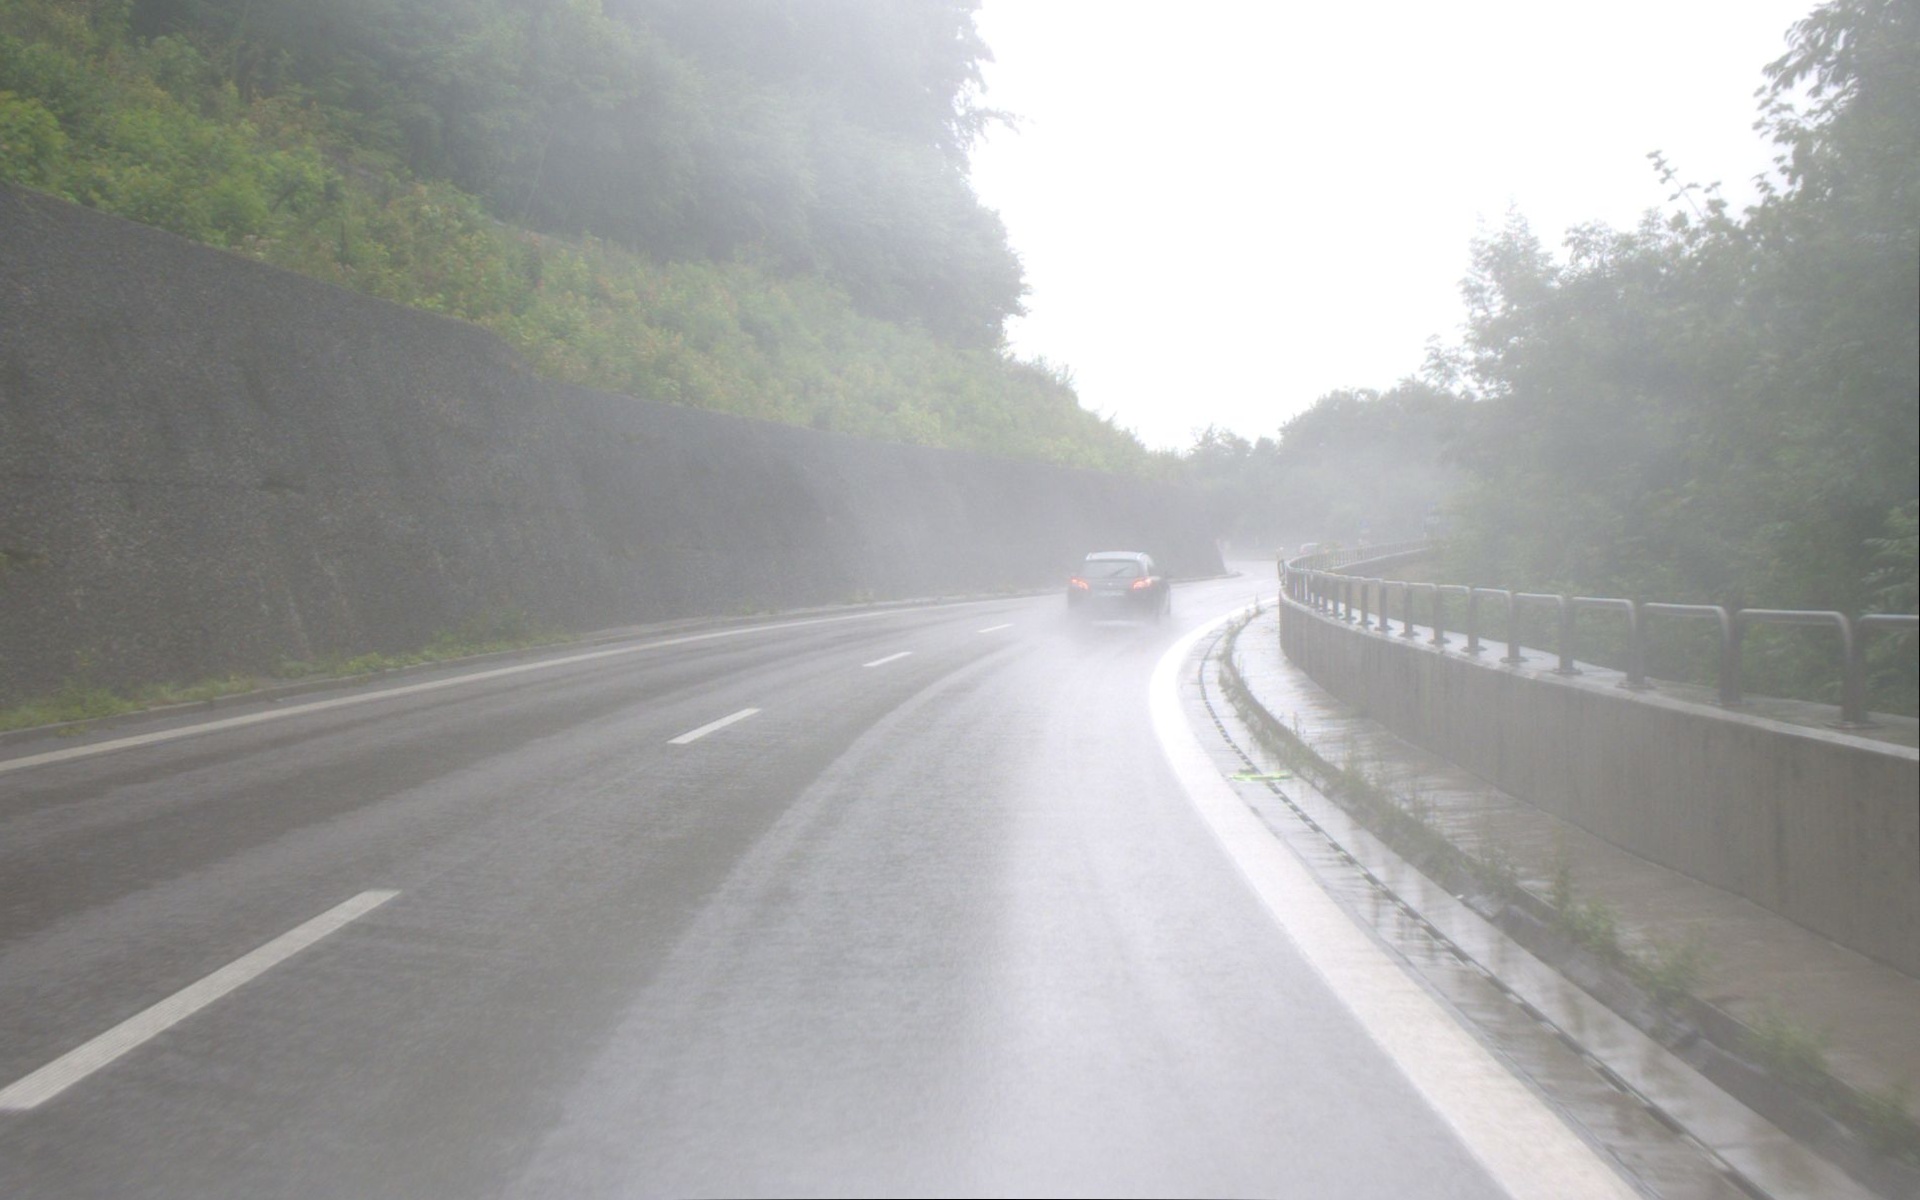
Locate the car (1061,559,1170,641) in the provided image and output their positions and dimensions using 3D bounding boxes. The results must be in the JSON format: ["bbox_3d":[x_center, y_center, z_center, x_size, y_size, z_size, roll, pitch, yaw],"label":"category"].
[{"bbox_3d":[3.046,-0.022,66.642,1.904,1.494,3.999,-1,1,5],"label":"car"}]
